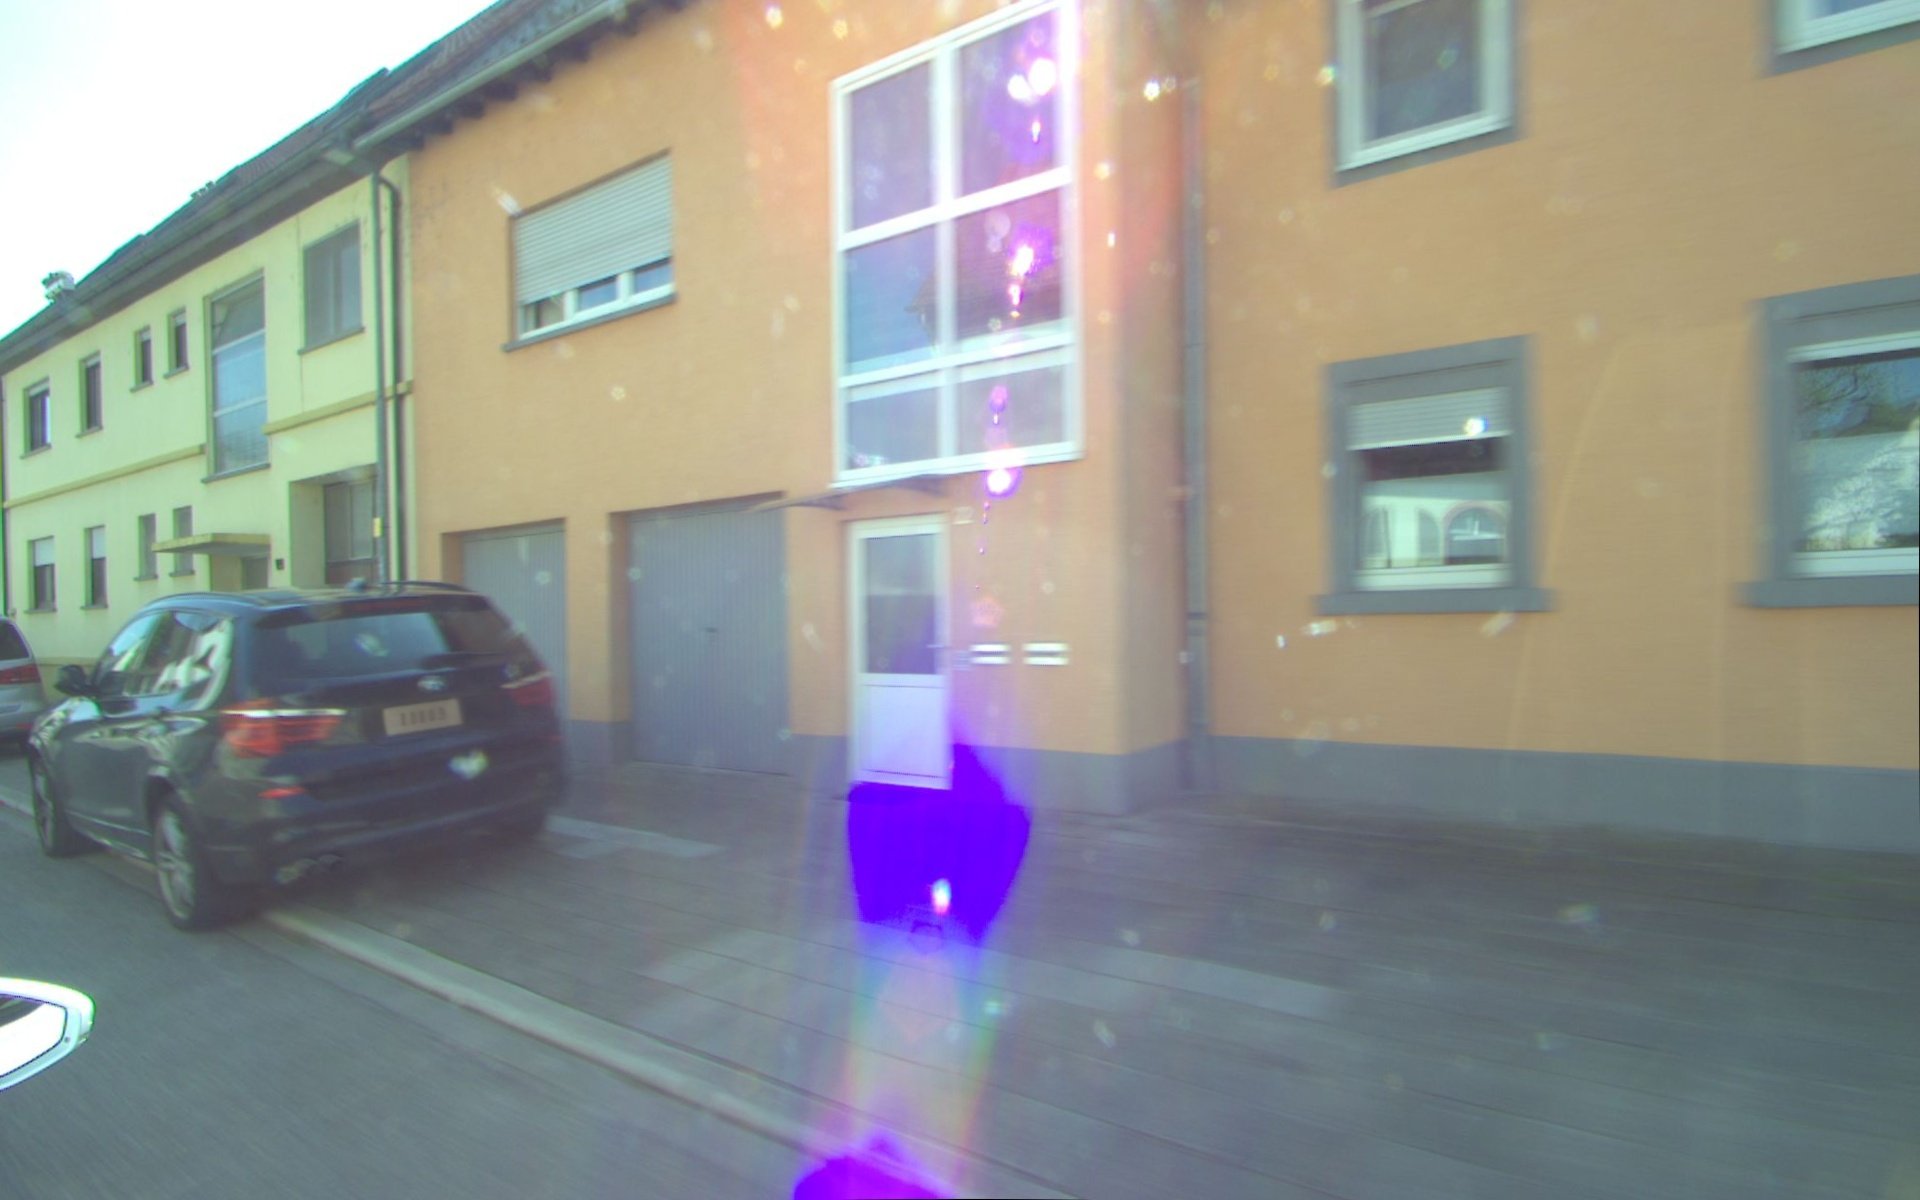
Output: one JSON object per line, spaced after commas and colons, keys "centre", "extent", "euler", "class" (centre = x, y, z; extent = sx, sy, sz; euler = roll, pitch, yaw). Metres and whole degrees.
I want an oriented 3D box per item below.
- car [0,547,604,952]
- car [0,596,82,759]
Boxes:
{"centre": [-4.632, 0.686, 6.558], "extent": [5.115, 1.725, 1.837], "euler": [-1, 0, 37], "class": "car"}
{"centre": [-12.164, 0.870, 11.821], "extent": [4.194, 1.750, 1.892], "euler": [-1, -2, 37], "class": "car"}
